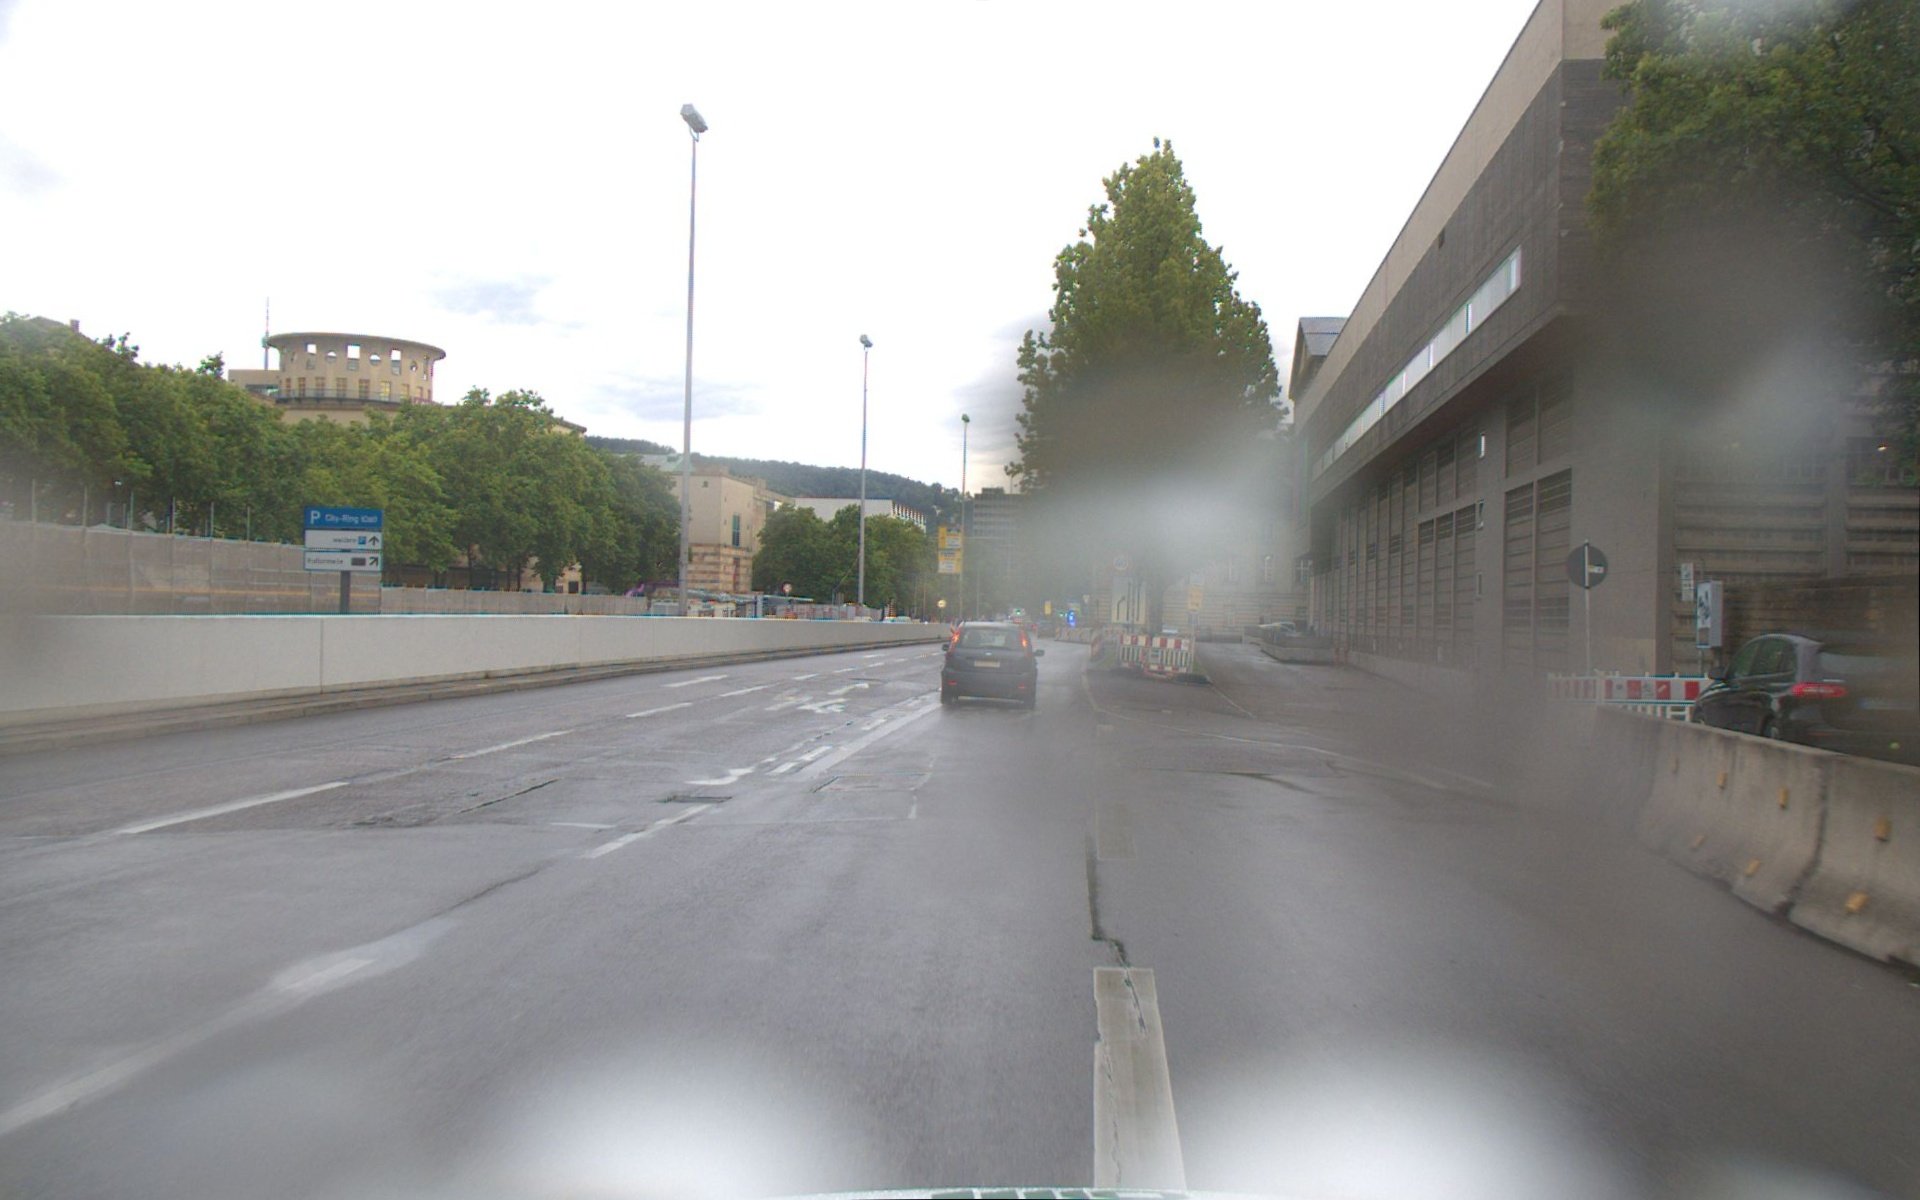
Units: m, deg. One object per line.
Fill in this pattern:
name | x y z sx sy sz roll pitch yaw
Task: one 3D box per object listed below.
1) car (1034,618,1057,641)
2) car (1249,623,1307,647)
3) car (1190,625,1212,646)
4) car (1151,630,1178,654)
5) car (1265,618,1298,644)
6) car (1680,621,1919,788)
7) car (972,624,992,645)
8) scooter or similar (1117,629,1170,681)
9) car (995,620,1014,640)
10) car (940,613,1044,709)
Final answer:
car | 8.182 2.830 158.019 1.952 2.049 4.002 3 0 5
car | 22.629 2.484 117.705 3.902 1.587 1.934 0 -4 6
car | 22.466 3.316 154.047 1.951 1.738 4.003 3 -2 10
car | 16.437 3.368 132.855 1.951 1.738 4.003 3 0 10
car | 24.372 2.371 125.541 1.951 1.791 5.099 1 -2 6
car | 9.356 1.057 18.037 1.766 1.579 4.329 1 -1 10
car | 1.517 2.365 114.571 1.357 1.411 3.067 1 -1 1
scooter or similar | 4.908 1.478 44.236 1.327 1.308 0.619 3 -2 6
car | 5.098 3.478 189.478 1.953 2.049 3.999 4 -2 0
car | 0.620 1.023 29.310 1.635 1.452 3.759 3 1 3
